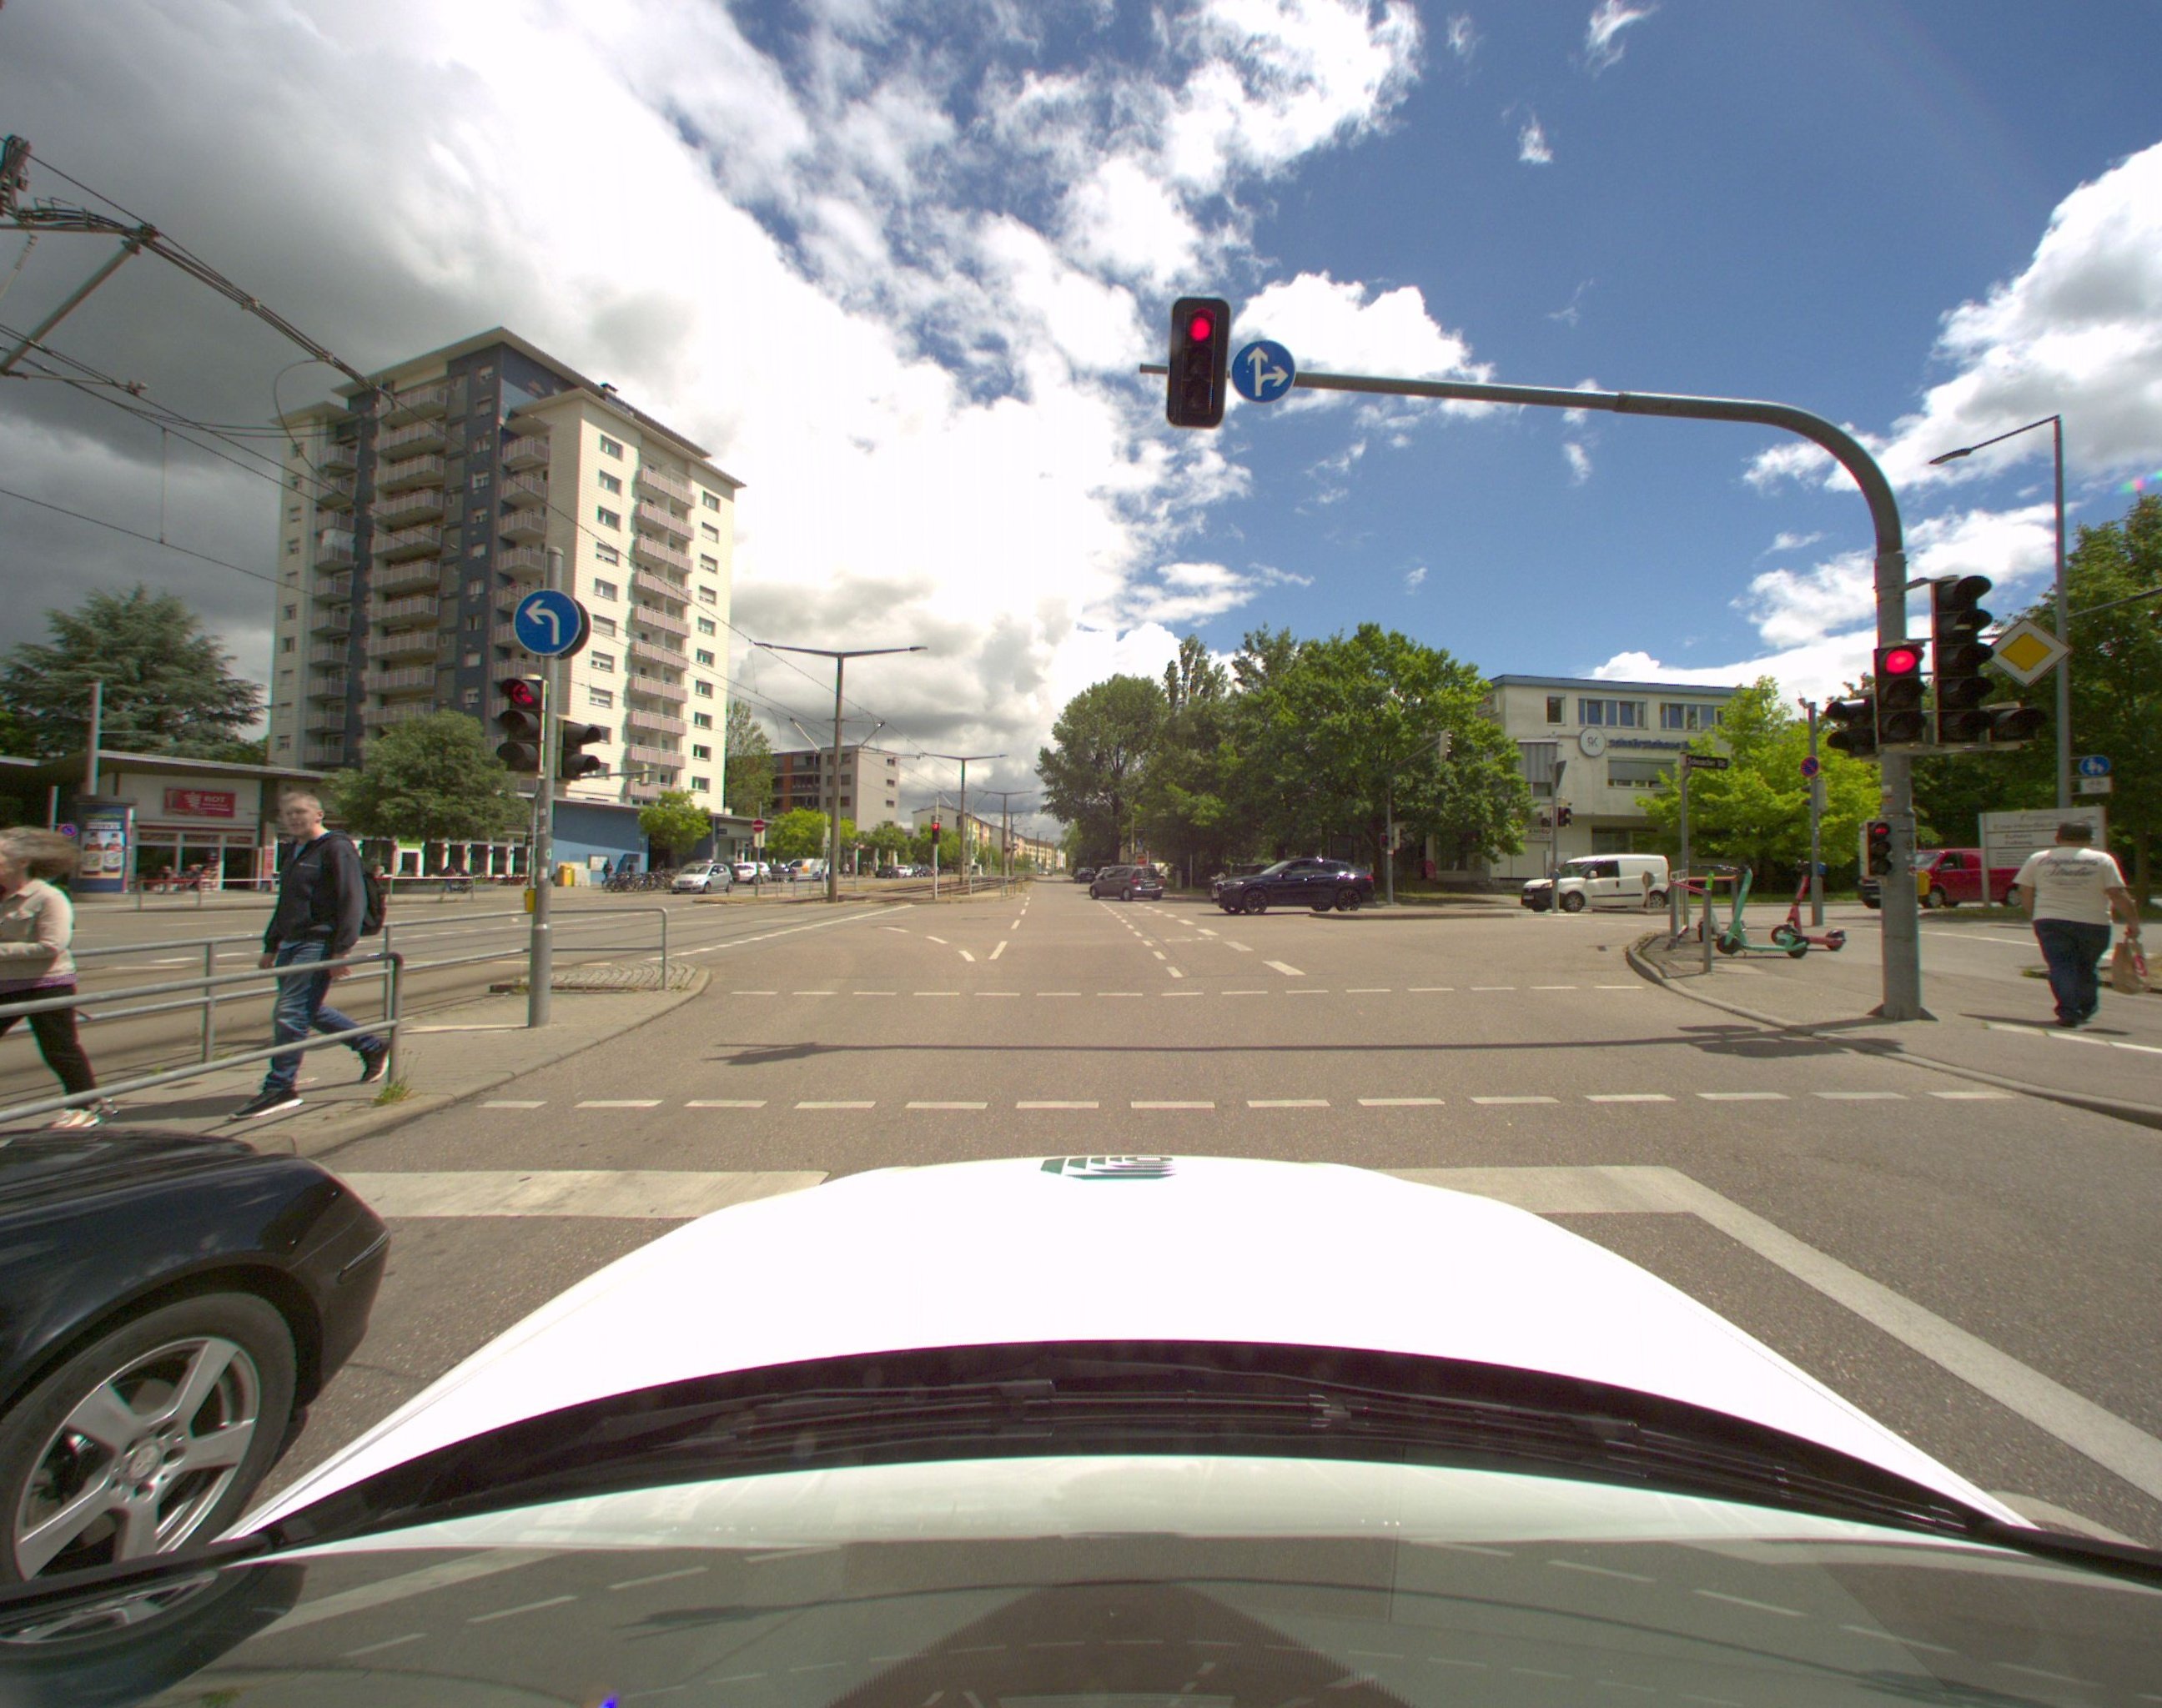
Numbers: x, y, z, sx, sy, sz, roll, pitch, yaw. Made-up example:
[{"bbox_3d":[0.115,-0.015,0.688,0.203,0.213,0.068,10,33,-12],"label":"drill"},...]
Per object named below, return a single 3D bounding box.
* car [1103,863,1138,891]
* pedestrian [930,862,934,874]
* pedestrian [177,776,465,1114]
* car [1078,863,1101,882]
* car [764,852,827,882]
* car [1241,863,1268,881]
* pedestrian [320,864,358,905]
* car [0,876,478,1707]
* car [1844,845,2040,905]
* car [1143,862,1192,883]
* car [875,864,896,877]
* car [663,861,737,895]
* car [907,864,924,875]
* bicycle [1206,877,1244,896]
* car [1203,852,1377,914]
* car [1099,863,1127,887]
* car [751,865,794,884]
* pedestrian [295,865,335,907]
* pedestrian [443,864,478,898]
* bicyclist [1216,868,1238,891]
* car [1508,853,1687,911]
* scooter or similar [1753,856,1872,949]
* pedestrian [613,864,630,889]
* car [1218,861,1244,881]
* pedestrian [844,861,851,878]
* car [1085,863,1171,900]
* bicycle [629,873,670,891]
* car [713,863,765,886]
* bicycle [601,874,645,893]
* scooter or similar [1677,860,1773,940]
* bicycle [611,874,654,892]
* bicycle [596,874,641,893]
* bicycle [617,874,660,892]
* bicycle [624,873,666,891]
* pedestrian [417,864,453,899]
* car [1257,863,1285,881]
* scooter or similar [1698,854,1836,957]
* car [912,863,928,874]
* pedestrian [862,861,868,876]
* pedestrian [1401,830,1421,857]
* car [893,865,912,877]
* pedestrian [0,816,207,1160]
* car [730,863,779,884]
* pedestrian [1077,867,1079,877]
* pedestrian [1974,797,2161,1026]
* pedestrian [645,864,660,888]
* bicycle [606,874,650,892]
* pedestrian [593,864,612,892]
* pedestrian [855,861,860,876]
[{"bbox_3d":[2.486,1.451,51.888,2.144,1.684,4.001,0,-1,2],"label":"car"},{"bbox_3d":[-21.412,2.036,116.998,0.450,1.637,0.481,0,-1,5],"label":"pedestrian"},{"bbox_3d":[-4.735,0.524,5.167,0.963,1.942,0.896,0,0,-3],"label":"pedestrian"},{"bbox_3d":[0.805,1.702,74.614,1.986,1.684,4.002,0,0,2],"label":"car"},{"bbox_3d":[-24.690,1.090,70.210,2.848,2.479,6.641,0,-1,-42],"label":"car"},{"bbox_3d":[15.923,1.657,74.894,1.626,1.573,4.030,0,0,-1],"label":"car"},{"bbox_3d":[-30.972,1.262,34.013,1.104,1.659,0.937,0,-1,-39],"label":"pedestrian"},{"bbox_3d":[-2.751,0.786,0.184,1.721,1.461,4.546,0,0,2],"label":"car"},{"bbox_3d":[28.213,0.696,26.762,4.800,1.864,1.994,0,-2,-8],"label":"car"},{"bbox_3d":[7.763,1.633,73.297,4.001,1.823,1.766,0,-1,-21],"label":"car"},{"bbox_3d":[-22.011,1.808,91.778,1.758,1.395,3.993,0,0,-5],"label":"car"},{"bbox_3d":[-19.813,1.217,42.577,1.930,1.693,3.874,0,0,2],"label":"car"},{"bbox_3d":[-21.463,2.044,105.777,1.758,1.395,3.993,0,0,-5],"label":"car"},{"bbox_3d":[6.653,1.506,37.704,0.796,0.819,1.790,1,-1,-30],"label":"bicycle"},{"bbox_3d":[6.080,0.812,23.936,4.558,1.717,1.993,0,-1,-10],"label":"car"},{"bbox_3d":[2.327,1.558,59.342,1.986,1.684,4.001,0,-1,2],"label":"car"},{"bbox_3d":[-24.693,1.589,65.088,1.800,1.420,4.166,0,-1,-43],"label":"car"},{"bbox_3d":[-30.895,1.269,32.878,1.104,1.659,0.937,0,-1,-39],"label":"pedestrian"},{"bbox_3d":[-30.459,1.310,39.985,0.957,1.659,1.002,-1,-1,24],"label":"pedestrian"},{"bbox_3d":[6.740,1.162,37.666,0.797,1.022,0.630,1,-1,-31],"label":"bicyclist"},{"bbox_3d":[16.099,0.842,25.505,4.555,1.717,1.995,0,0,-8],"label":"car"},{"bbox_3d":[10.235,0.669,11.412,1.225,1.240,0.555,2,0,-7],"label":"scooter or similar"},{"bbox_3d":[-30.657,1.512,54.350,0.767,1.615,0.695,0,-1,-12],"label":"pedestrian"},{"bbox_3d":[13.672,1.527,74.415,1.626,1.811,4.030,0,0,-1],"label":"car"},{"bbox_3d":[-23.923,1.561,83.407,0.545,1.716,0.405,0,-1,1],"label":"pedestrian"},{"bbox_3d":[2.062,1.198,36.769,2.008,1.555,3.879,0,-1,-33],"label":"car"},{"bbox_3d":[-23.522,1.530,44.404,1.943,0.935,0.494,0,-1,-5],"label":"bicycle"},{"bbox_3d":[-24.639,1.443,58.638,4.165,1.570,1.973,-1,-1,45],"label":"car"},{"bbox_3d":[-23.491,1.502,41.791,1.943,0.935,0.494,0,-1,-5],"label":"bicycle"},{"bbox_3d":[9.750,0.681,12.325,1.360,1.156,0.540,1,0,-23],"label":"scooter or similar"},{"bbox_3d":[-23.540,1.513,42.773,1.943,0.935,0.494,0,-1,-5],"label":"bicycle"},{"bbox_3d":[-23.455,1.497,41.325,1.943,0.935,0.494,0,-1,-5],"label":"bicycle"},{"bbox_3d":[-23.527,1.519,43.320,1.943,0.935,0.494,0,-1,-5],"label":"bicycle"},{"bbox_3d":[-23.496,1.525,43.922,1.943,0.935,0.494,0,-1,-5],"label":"bicycle"},{"bbox_3d":[-30.731,1.300,38.764,0.957,1.659,1.002,-1,-1,24],"label":"pedestrian"},{"bbox_3d":[17.754,1.652,76.306,1.626,1.595,3.998,0,0,-1],"label":"car"},{"bbox_3d":[8.848,0.649,10.536,1.336,1.277,0.463,0,0,8],"label":"scooter or similar"},{"bbox_3d":[-21.818,1.952,110.354,1.758,1.395,3.993,0,0,-5],"label":"car"},{"bbox_3d":[-25.050,1.685,94.352,0.547,1.716,0.667,0,-1,-8],"label":"pedestrian"},{"bbox_3d":[20.160,-0.626,49.800,0.768,1.643,0.904,0,-1,-11],"label":"pedestrian"},{"bbox_3d":[-21.675,2.067,99.185,1.758,1.395,3.993,0,0,-5],"label":"car"},{"bbox_3d":[-5.657,0.663,4.379,0.864,1.674,0.957,-1,-1,5],"label":"pedestrian"},{"bbox_3d":[-24.860,1.443,61.944,4.165,1.538,1.973,-1,-1,45],"label":"car"},{"bbox_3d":[-0.510,3.030,138.504,0.477,1.637,0.454,0,-1,1],"label":"pedestrian"},{"bbox_3d":[8.357,0.453,6.920,0.870,1.808,0.738,0,0,-17],"label":"pedestrian"},{"bbox_3d":[-29.978,1.533,56.937,0.767,1.615,0.695,0,-1,-12],"label":"pedestrian"},{"bbox_3d":[-23.516,1.508,42.297,1.943,0.935,0.494,0,-1,-5],"label":"bicycle"},{"bbox_3d":[-28.853,1.443,49.127,0.767,1.615,0.695,0,-1,-12],"label":"pedestrian"},{"bbox_3d":[-25.063,1.636,91.283,0.547,1.716,0.404,0,-1,-8],"label":"pedestrian"}]
